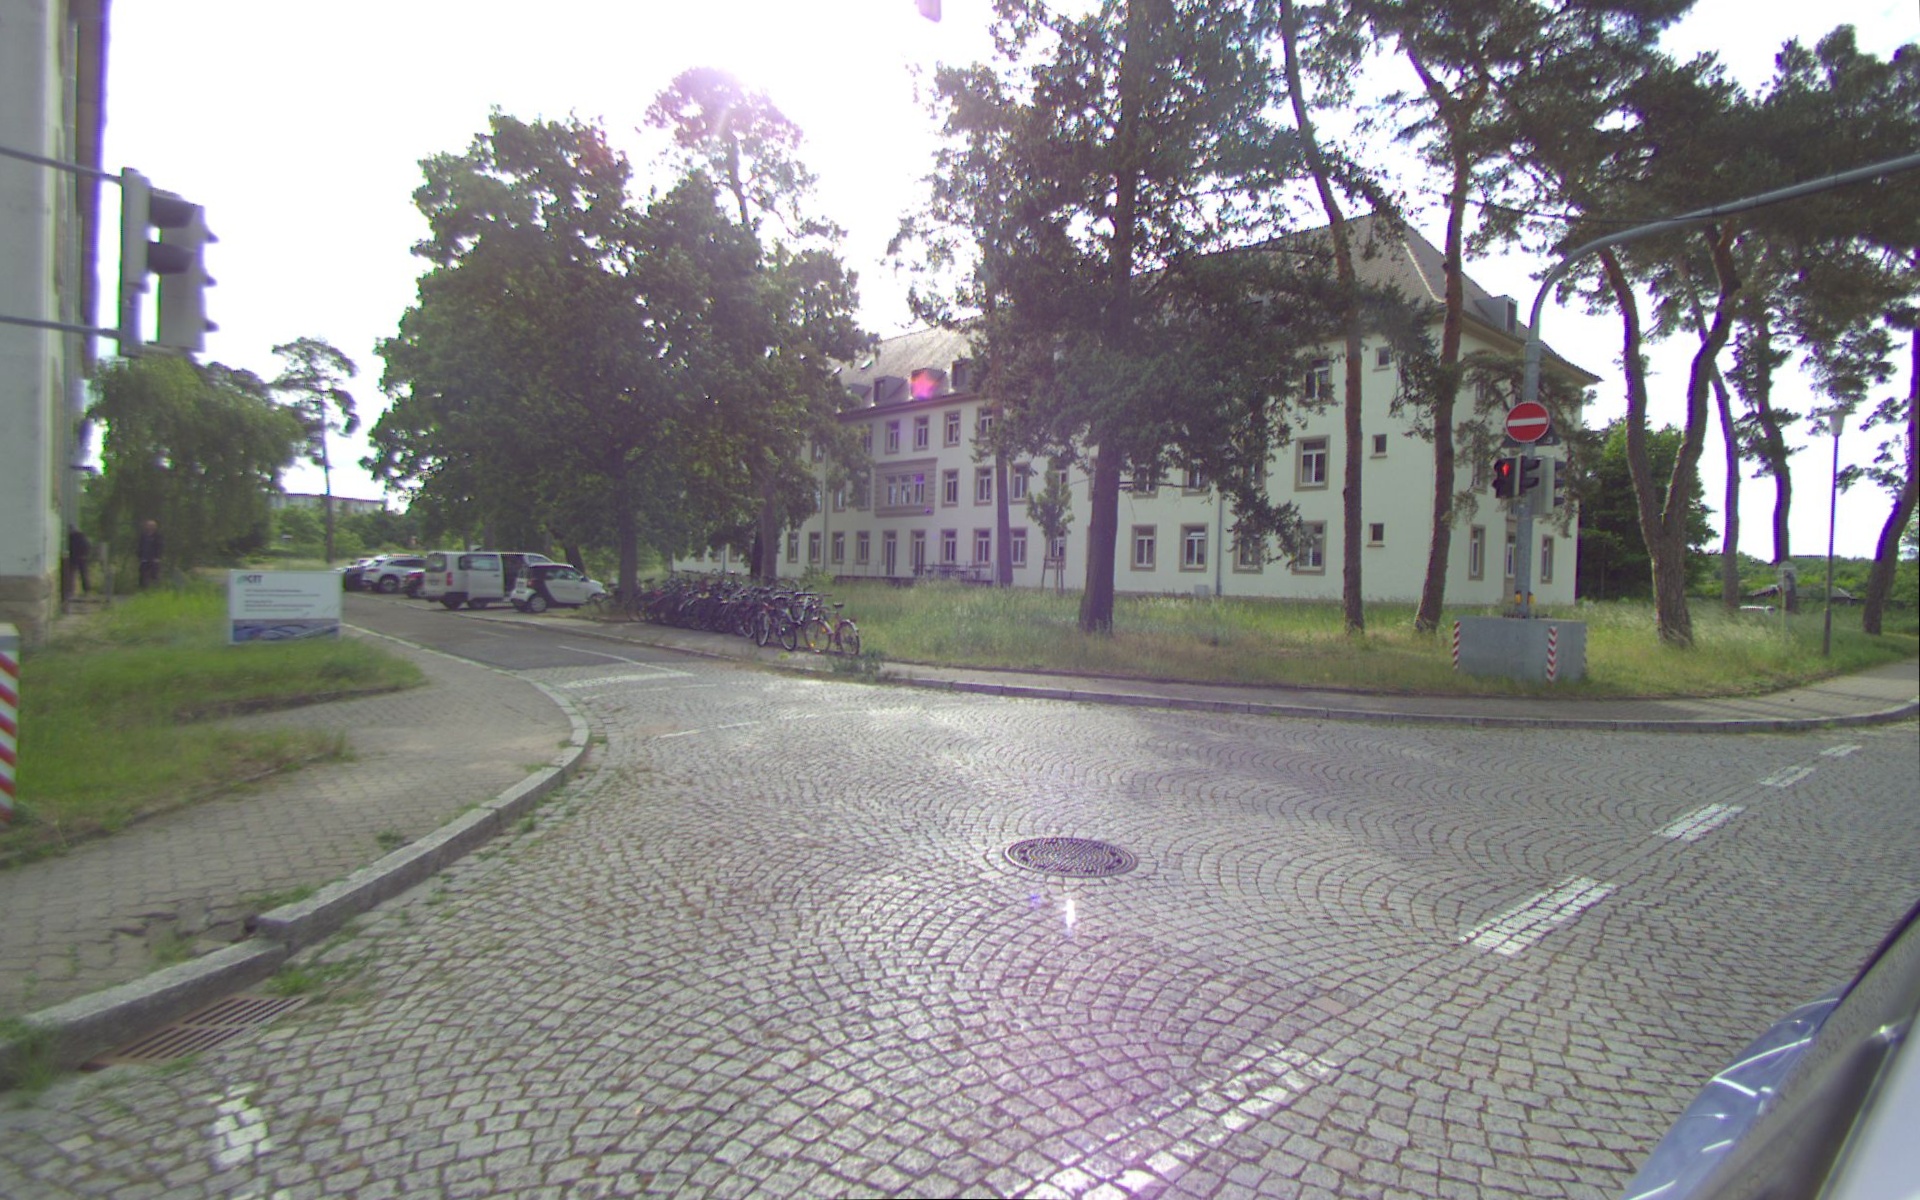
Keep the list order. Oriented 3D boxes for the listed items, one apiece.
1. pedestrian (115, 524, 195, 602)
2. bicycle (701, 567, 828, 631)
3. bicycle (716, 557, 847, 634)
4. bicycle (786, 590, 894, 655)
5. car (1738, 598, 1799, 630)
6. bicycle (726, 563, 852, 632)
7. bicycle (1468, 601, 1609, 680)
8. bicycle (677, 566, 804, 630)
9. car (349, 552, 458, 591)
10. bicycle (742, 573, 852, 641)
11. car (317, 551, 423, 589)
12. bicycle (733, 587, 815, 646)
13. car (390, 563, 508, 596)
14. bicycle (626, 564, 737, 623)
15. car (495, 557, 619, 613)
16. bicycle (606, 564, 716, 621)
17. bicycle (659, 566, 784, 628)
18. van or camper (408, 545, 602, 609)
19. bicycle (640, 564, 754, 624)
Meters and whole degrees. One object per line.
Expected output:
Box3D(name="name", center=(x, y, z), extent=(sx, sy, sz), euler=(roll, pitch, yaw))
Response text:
Box3D(name="pedestrian", center=(-20.370, -0.932, 25.605), extent=(1.541, 1.893, 1.183), euler=(2, 0, 36))
Box3D(name="bicycle", center=(-4.461, -0.024, 23.298), extent=(2.763, 1.389, 0.949), euler=(1, 1, -42))
Box3D(name="bicycle", center=(-3.942, -0.096, 22.513), extent=(2.763, 1.603, 0.949), euler=(1, 1, -42))
Box3D(name="bicycle", center=(-2.123, 0.358, 17.650), extent=(0.888, 1.009, 1.975), euler=(1, 1, -42))
Box3D(name="car", center=(42.349, 0.703, 52.980), extent=(3.629, 1.552, 1.771), euler=(1, 2, -40))
Box3D(name="bicycle", center=(-3.627, -0.051, 21.631), extent=(2.582, 1.384, 0.873), euler=(1, 1, -42))
Box3D(name="bicycle", center=(9.113, 0.602, 16.002), extent=(0.636, 1.075, 1.829), euler=(-4, 5, -44))
Box3D(name="bicycle", center=(-5.052, -0.049, 23.485), extent=(2.763, 1.389, 0.949), euler=(1, 1, -42))
Box3D(name="car", center=(-24.602, -1.239, 44.819), extent=(3.934, 1.620, 1.700), euler=(0, 2, -44))
Box3D(name="bicycle", center=(-3.371, 0.140, 21.049), extent=(2.083, 1.322, 0.873), euler=(1, 1, -42))
Box3D(name="car", center=(-27.191, -1.374, 46.707), extent=(3.934, 1.620, 1.700), euler=(0, 2, -44))
Box3D(name="bicycle", center=(-3.551, 0.295, 19.174), extent=(0.716, 1.009, 1.978), euler=(1, 1, -37))
Box3D(name="car", center=(-20.589, -0.812, 40.884), extent=(3.934, 1.214, 1.700), euler=(0, 2, -44))
Box3D(name="bicycle", center=(-6.961, -0.163, 25.389), extent=(2.532, 1.389, 0.949), euler=(1, 1, -43))
Box3D(name="car", center=(-12.879, -0.471, 32.405), extent=(3.180, 1.641, 1.934), euler=(2, 0, -43))
Box3D(name="bicycle", center=(-7.631, -0.192, 25.911), extent=(2.532, 1.389, 0.949), euler=(1, 1, -43))
Box3D(name="bicycle", center=(-5.660, -0.076, 24.138), extent=(2.763, 1.389, 0.949), euler=(1, 1, -42))
Box3D(name="van or camper", center=(-15.366, -0.758, 34.534), extent=(2.224, 1.981, 5.685), euler=(2, 1, 36))
Box3D(name="bicycle", center=(-6.399, -0.138, 24.766), extent=(2.532, 1.389, 0.949), euler=(1, 1, -43))
